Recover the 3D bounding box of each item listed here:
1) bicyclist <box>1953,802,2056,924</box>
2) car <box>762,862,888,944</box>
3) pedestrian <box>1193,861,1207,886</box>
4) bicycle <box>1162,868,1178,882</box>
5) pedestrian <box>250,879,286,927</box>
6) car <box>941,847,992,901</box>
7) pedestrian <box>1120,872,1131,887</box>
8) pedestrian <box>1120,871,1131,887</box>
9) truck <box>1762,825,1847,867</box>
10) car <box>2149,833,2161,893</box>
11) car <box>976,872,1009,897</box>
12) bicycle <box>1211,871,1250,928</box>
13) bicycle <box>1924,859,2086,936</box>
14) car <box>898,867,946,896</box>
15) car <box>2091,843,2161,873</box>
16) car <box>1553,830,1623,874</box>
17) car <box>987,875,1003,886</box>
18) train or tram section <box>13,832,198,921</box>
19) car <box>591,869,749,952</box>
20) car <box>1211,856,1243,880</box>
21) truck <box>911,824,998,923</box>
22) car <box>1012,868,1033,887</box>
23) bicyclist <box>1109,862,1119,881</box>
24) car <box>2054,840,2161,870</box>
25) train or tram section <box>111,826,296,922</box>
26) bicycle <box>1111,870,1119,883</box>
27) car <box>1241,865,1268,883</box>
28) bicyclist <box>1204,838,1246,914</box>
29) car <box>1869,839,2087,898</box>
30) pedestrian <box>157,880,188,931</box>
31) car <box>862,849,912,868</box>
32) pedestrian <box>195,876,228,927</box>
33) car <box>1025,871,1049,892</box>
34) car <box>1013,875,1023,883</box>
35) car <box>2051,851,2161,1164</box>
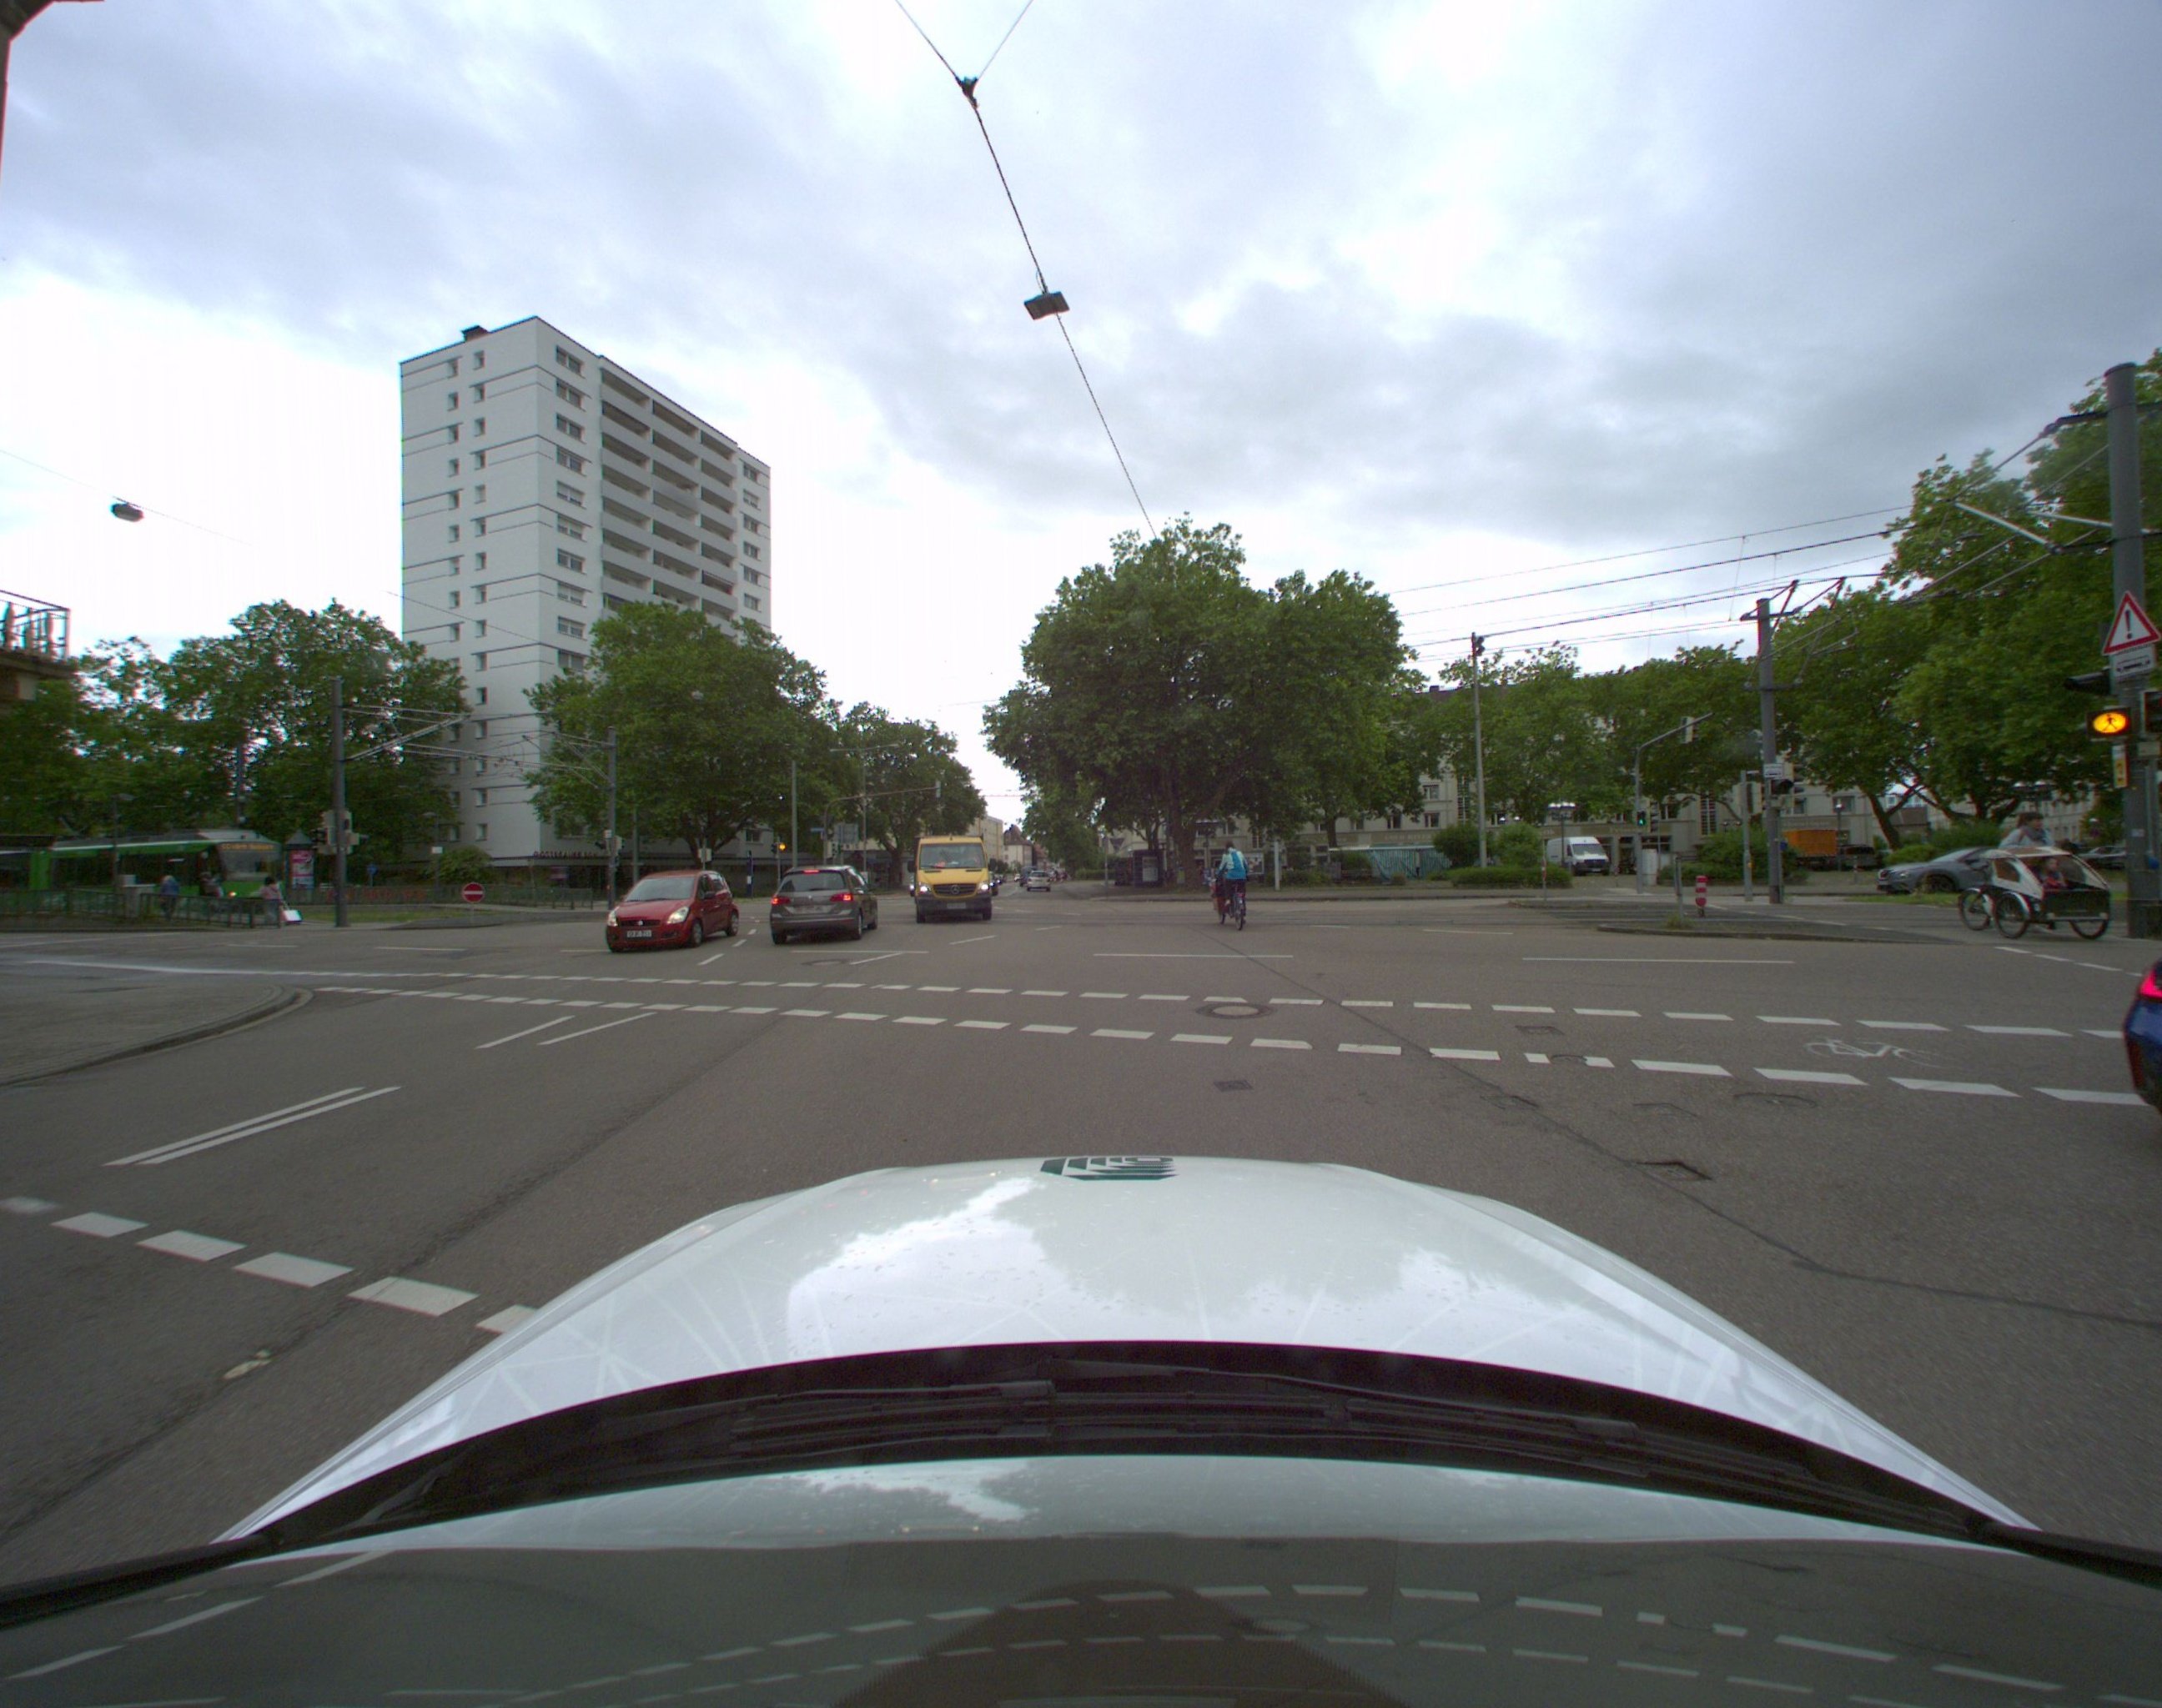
[{"bbox_3d":[13.018,0.130,11.506,0.609,1.654,0.757,-2,-1,18],"label":"bicyclist"},{"bbox_3d":[-5.443,0.988,17.827,1.729,1.525,3.993,-2,-1,-5],"label":"car"},{"bbox_3d":[8.657,1.415,59.241,0.782,1.744,0.923,-1,-2,-5],"label":"pedestrian"},{"bbox_3d":[8.188,1.914,74.847,0.771,1.168,2.345,-2,-2,22],"label":"bicycle"},{"bbox_3d":[-27.826,1.687,27.877,0.725,1.603,0.591,-2,-1,20],"label":"pedestrian"},{"bbox_3d":[-5.603,0.993,40.594,2.130,2.451,5.569,-1,-1,-5],"label":"car"},{"bbox_3d":[3.979,2.242,72.305,0.851,1.315,0.761,-1,-2,-4],"label":"pedestrian"},{"bbox_3d":[3.994,2.235,73.290,0.816,1.372,0.761,-1,-2,-4],"label":"pedestrian"},{"bbox_3d":[46.827,-0.480,52.837,2.364,2.591,4.013,-2,-1,12],"label":"truck"},{"bbox_3d":[32.382,0.188,22.031,3.904,1.711,1.695,-2,-2,19],"label":"car"},{"bbox_3d":[-5.342,1.836,49.531,1.805,1.427,4.311,-1,-1,-4],"label":"car"},{"bbox_3d":[3.096,0.912,17.039,0.492,1.098,2.140,-2,-1,3],"label":"bicycle"},{"bbox_3d":[13.041,0.575,11.586,0.546,0.996,2.071,-2,-1,19],"label":"bicycle"},{"bbox_3d":[-10.595,1.791,54.583,1.859,1.826,5.230,-2,-1,3],"label":"car"},{"bbox_3d":[59.429,0.204,45.345,3.772,1.623,1.520,-2,-2,16],"label":"car"},{"bbox_3d":[32.428,-0.105,52.296,2.218,2.639,5.469,-2,-1,15],"label":"car"},{"bbox_3d":[-11.443,3.506,108.044,1.849,1.453,4.162,-1,-1,-3],"label":"car"},{"bbox_3d":[-44.576,1.083,37.216,8.204,3.761,2.699,-2,-1,19],"label":"train or tram section"},{"bbox_3d":[-8.662,1.118,17.574,1.731,1.525,3.990,-2,-1,-7],"label":"car"},{"bbox_3d":[13.939,1.348,77.629,2.155,2.201,4.020,-2,-1,21],"label":"car"},{"bbox_3d":[-3.695,0.533,23.071,2.076,2.408,5.440,-2,-1,-11],"label":"truck"},{"bbox_3d":[-5.992,2.361,83.275,1.990,1.848,3.993,-1,-1,-5],"label":"car"},{"bbox_3d":[3.107,1.632,76.957,0.759,1.759,0.818,-1,-2,-7],"label":"bicyclist"},{"bbox_3d":[60.137,0.089,47.726,3.772,1.623,1.520,-2,-2,16],"label":"car"},{"bbox_3d":[-37.323,0.900,34.656,7.178,3.761,2.699,-2,-1,19],"label":"train or tram section"},{"bbox_3d":[3.184,2.158,77.200,0.417,1.242,1.922,-1,-1,-7],"label":"bicycle"},{"bbox_3d":[16.363,1.879,76.752,1.780,1.543,3.847,-2,-1,22],"label":"car"},{"bbox_3d":[2.969,0.453,16.900,0.683,1.518,1.059,-2,-1,3],"label":"bicyclist"},{"bbox_3d":[26.260,0.447,24.019,3.943,1.561,1.695,-2,-2,19],"label":"car"},{"bbox_3d":[-33.671,1.890,30.175,0.476,1.864,0.619,-2,-1,20],"label":"pedestrian"},{"bbox_3d":[-17.730,0.428,74.415,4.014,1.706,1.979,0,-2,-32],"label":"car"},{"bbox_3d":[-32.327,1.775,30.276,0.725,1.864,0.591,-2,-1,20],"label":"pedestrian"},{"bbox_3d":[-3.497,2.152,65.180,1.811,1.592,3.995,-2,-1,-3],"label":"car"},{"bbox_3d":[-11.612,4.570,150.633,1.763,1.486,3.995,-2,-1,-3],"label":"car"},{"bbox_3d":[7.100,0.641,3.911,4.321,1.405,1.808,-1,-1,-21],"label":"car"}]
